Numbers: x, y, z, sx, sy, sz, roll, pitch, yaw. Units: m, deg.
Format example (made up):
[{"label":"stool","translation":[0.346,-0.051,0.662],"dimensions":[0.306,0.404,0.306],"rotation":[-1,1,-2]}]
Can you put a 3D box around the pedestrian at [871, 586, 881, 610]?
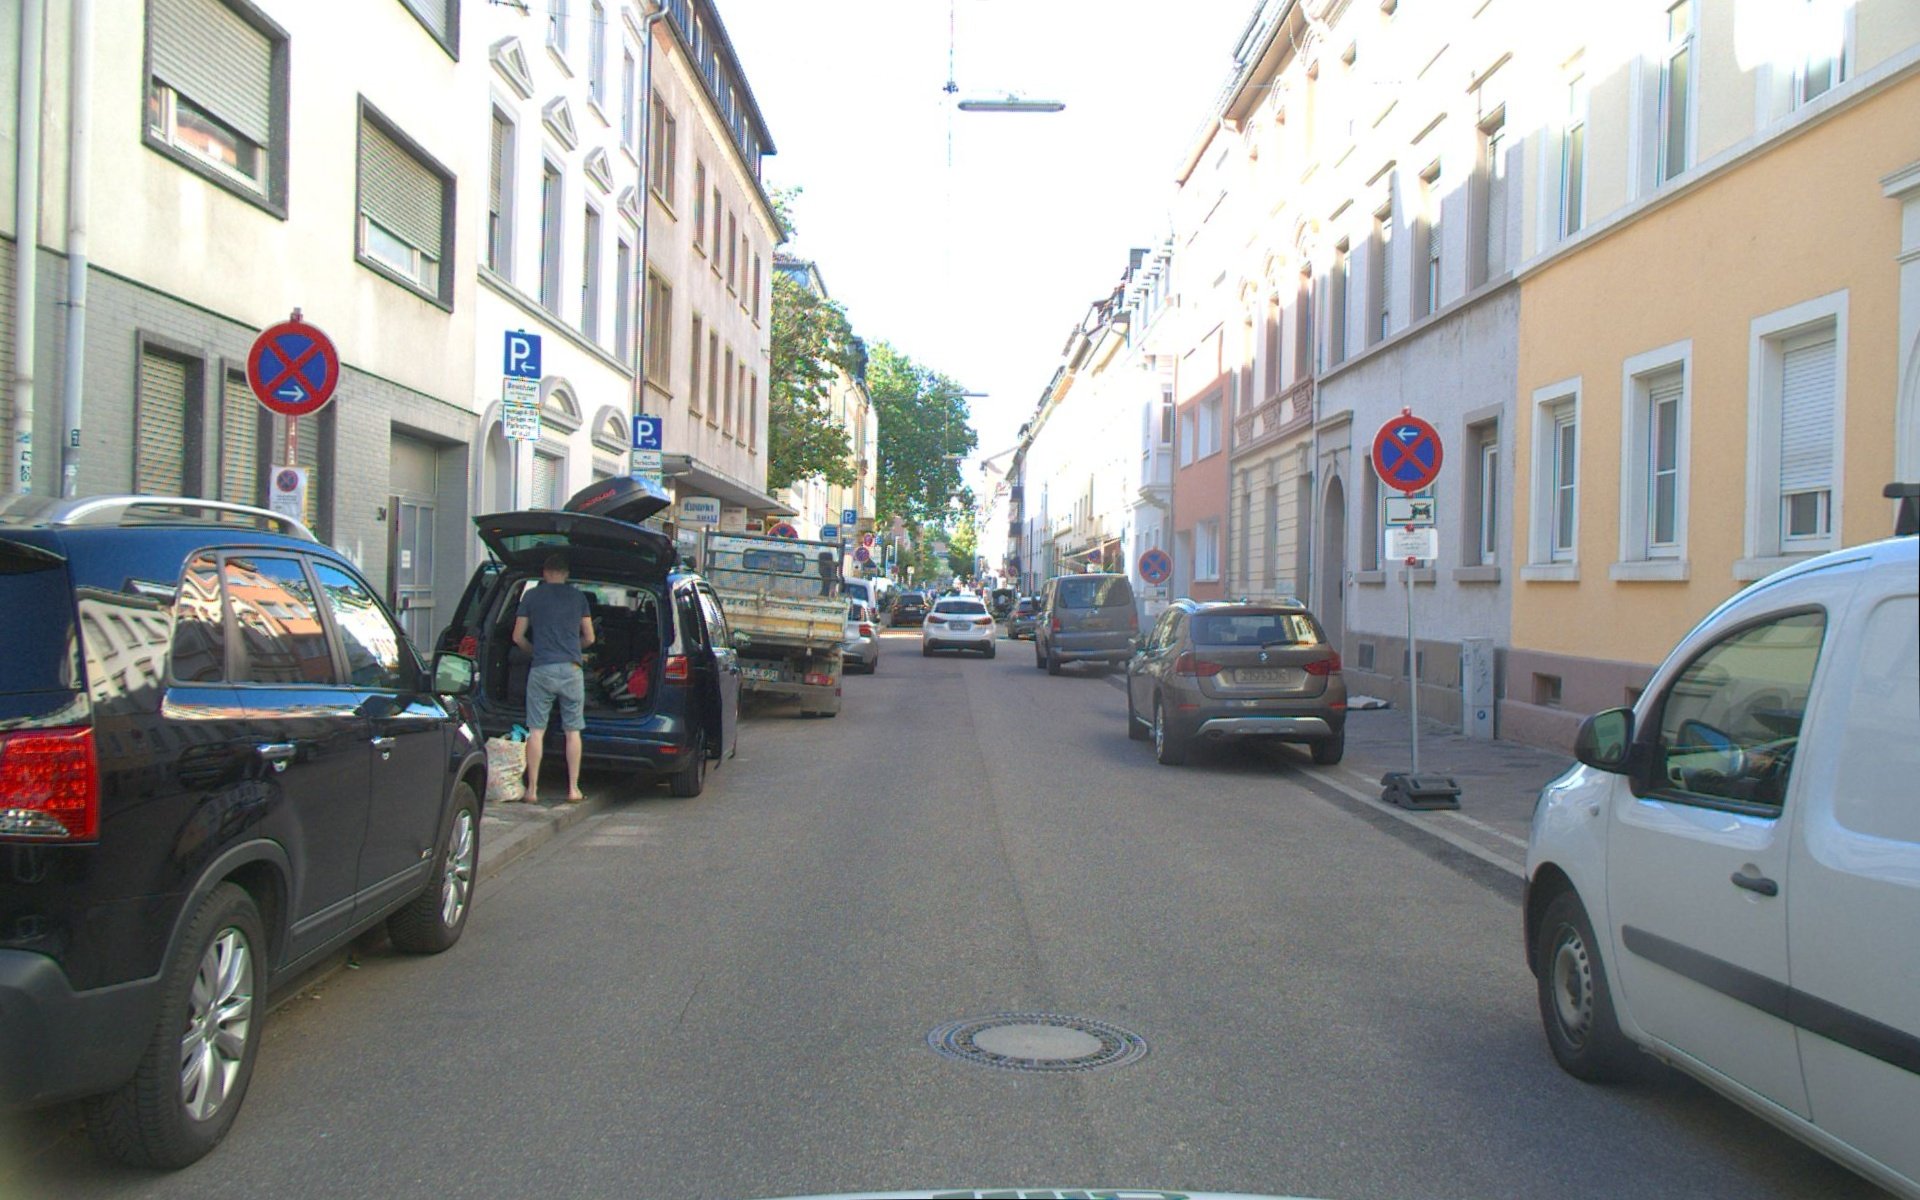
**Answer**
[{"label":"pedestrian","translation":[-5.286,-0.152,104.011],"dimensions":[0.614,1.490,0.575],"rotation":[1,-1,0]}]

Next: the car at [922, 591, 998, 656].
[{"label":"car","translation":[0.009,0.559,41.731],"dimensions":[1.796,1.512,4.057],"rotation":[1,0,0]}]

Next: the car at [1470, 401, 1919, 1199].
[{"label":"car","translation":[2.940,0.582,4.315],"dimensions":[1.746,1.996,4.335],"rotation":[1,0,-2]}]

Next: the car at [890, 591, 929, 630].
[{"label":"car","translation":[-2.269,0.463,74.357],"dimensions":[1.591,1.625,3.580],"rotation":[2,0,0]}]

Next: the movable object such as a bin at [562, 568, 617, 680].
[{"label":"movable object such as a bin","translation":[-5.277,0.340,23.575],"dimensions":[0.626,1.559,0.587],"rotation":[1,0,0]}]

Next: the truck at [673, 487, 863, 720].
[{"label":"truck","translation":[-2.460,0.085,22.066],"dimensions":[2.115,2.635,6.242],"rotation":[1,-1,-5]}]

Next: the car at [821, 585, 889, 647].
[{"label":"car","translation":[-2.889,0.419,46.176],"dimensions":[1.613,1.604,3.679],"rotation":[2,0,0]}]

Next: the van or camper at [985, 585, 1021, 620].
[{"label":"van or camper","translation":[2.488,0.145,97.123],"dimensions":[1.953,1.959,3.999],"rotation":[1,-1,0]}]

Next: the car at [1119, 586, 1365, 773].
[{"label":"car","translation":[2.741,0.696,17.045],"dimensions":[1.704,1.604,4.377],"rotation":[1,1,-1]}]

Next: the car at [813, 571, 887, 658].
[{"label":"car","translation":[-2.568,0.313,39.002],"dimensions":[1.614,1.900,3.998],"rotation":[1,0,-3]}]

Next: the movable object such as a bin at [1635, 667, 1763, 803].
[{"label":"movable object such as a bin","translation":[5.531,0.999,12.398],"dimensions":[0.640,0.952,0.642],"rotation":[1,0,-3]}]

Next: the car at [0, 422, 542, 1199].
[{"label":"car","translation":[-2.821,0.432,5.542],"dimensions":[1.843,1.785,4.539],"rotation":[4,1,-4]}]

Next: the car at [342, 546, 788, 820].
[{"label":"car","translation":[-2.888,0.528,13.582],"dimensions":[2.391,1.735,5.242],"rotation":[2,0,-1]}]

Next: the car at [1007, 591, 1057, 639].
[{"label":"car","translation":[2.555,0.516,59.387],"dimensions":[1.613,1.604,3.679],"rotation":[2,0,0]}]

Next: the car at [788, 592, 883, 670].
[{"label":"car","translation":[-2.436,0.576,33.152],"dimensions":[1.722,1.440,3.999],"rotation":[-1,0,-2]}]

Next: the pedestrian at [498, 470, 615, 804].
[{"label":"pedestrian","translation":[-2.823,0.254,11.620],"dimensions":[0.606,2.268,0.688],"rotation":[1,-1,-1]}]

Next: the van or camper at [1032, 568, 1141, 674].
[{"label":"van or camper","translation":[2.587,0.410,34.827],"dimensions":[1.739,2.072,4.568],"rotation":[0,0,-3]}]
